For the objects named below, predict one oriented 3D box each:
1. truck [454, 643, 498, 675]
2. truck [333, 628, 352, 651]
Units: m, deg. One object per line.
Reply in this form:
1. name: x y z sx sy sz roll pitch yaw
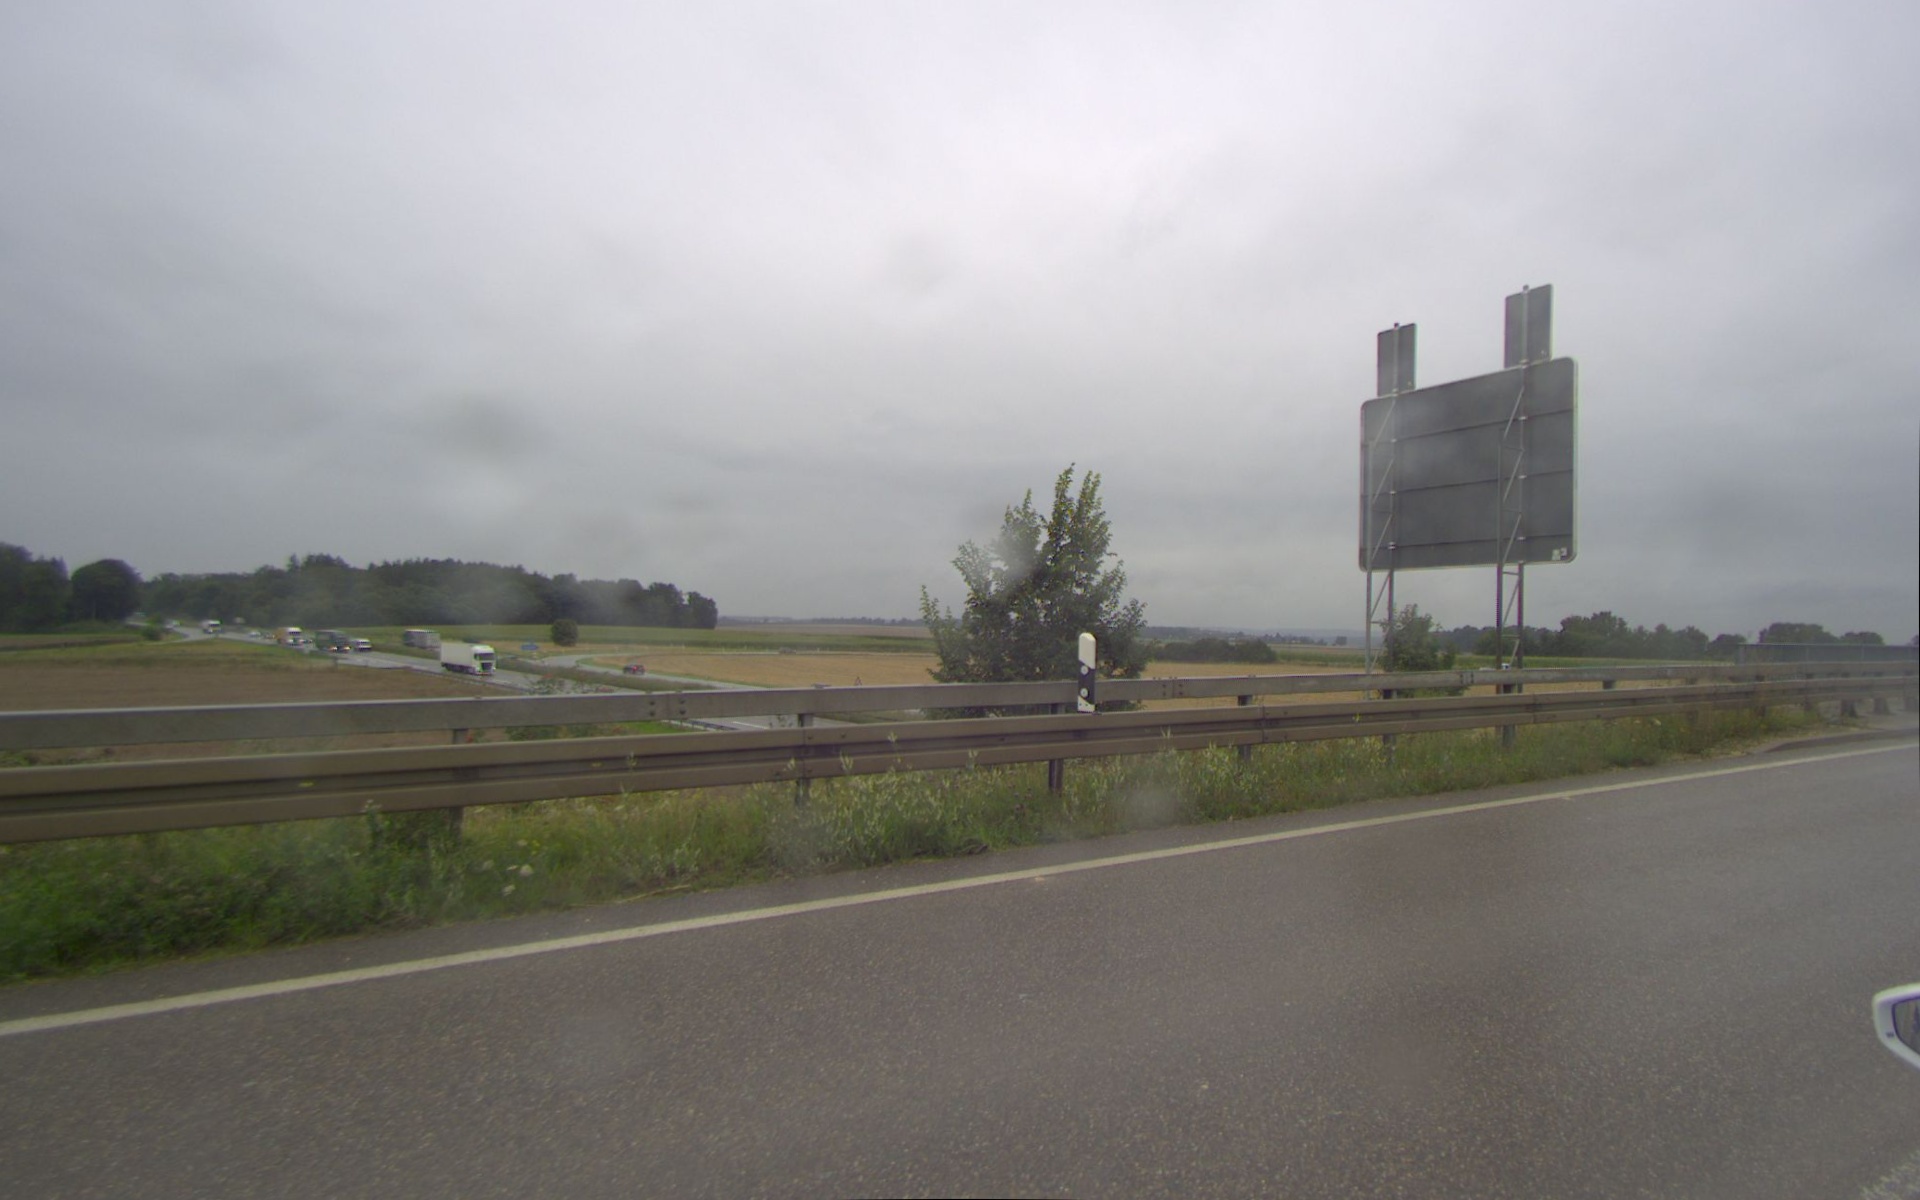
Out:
1. truck: -68.272 8.243 141.637 2.765 3.920 10.513 3 -2 -41
2. truck: -124.253 7.891 202.104 2.219 3.749 9.746 1 2 -37
